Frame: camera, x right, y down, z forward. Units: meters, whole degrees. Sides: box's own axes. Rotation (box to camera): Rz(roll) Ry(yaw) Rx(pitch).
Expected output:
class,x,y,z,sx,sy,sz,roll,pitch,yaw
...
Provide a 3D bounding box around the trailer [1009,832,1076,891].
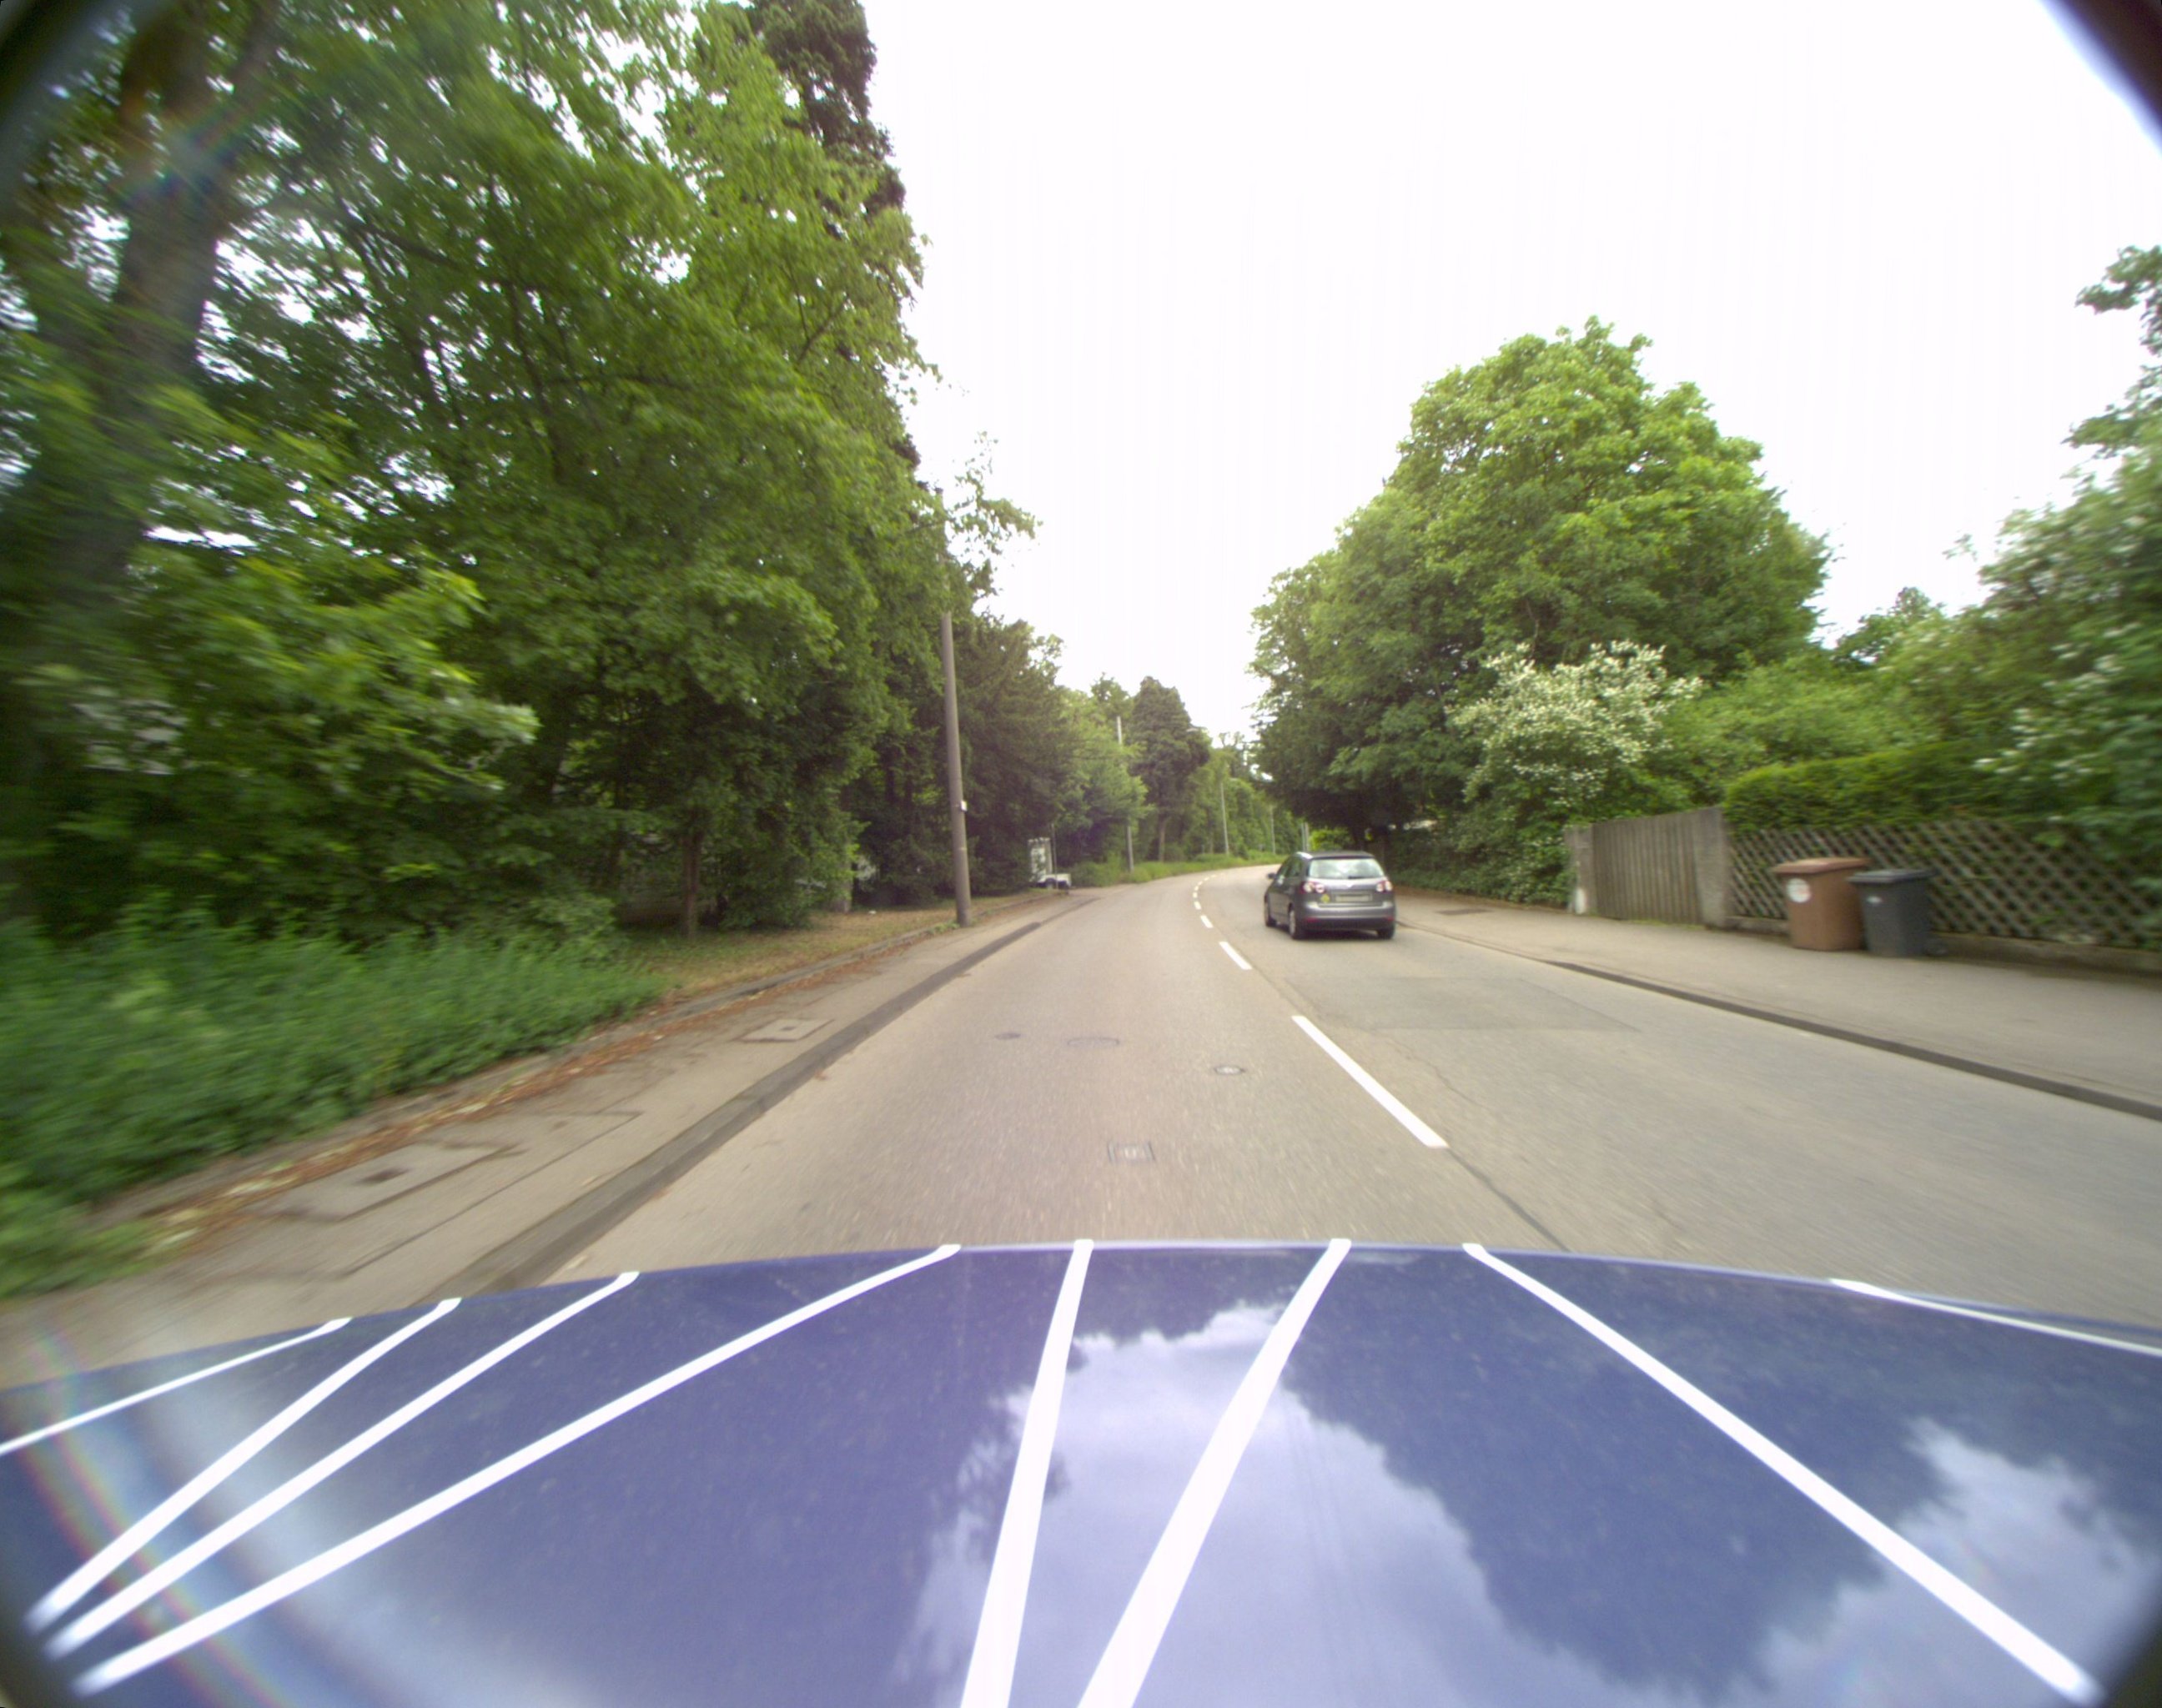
class,x,y,z,sx,sy,sz,roll,pitch,yaw
trailer,-1.974,0.369,39.619,3.122,2.882,1.594,-3,0,8

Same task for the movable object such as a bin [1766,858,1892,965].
class,x,y,z,sx,sy,sz,roll,pitch,yaw
movable object such as a bin,8.674,0.647,8.840,0.742,1.134,0.646,-5,0,3

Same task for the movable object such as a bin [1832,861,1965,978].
class,x,y,z,sx,sy,sz,roll,pitch,yaw
movable object such as a bin,8.651,0.668,8.067,0.630,1.138,0.646,-5,0,3

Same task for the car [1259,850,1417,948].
class,x,y,z,sx,sy,sz,roll,pitch,yaw
car,4.696,0.755,14.533,1.998,1.608,4.002,-1,0,6
